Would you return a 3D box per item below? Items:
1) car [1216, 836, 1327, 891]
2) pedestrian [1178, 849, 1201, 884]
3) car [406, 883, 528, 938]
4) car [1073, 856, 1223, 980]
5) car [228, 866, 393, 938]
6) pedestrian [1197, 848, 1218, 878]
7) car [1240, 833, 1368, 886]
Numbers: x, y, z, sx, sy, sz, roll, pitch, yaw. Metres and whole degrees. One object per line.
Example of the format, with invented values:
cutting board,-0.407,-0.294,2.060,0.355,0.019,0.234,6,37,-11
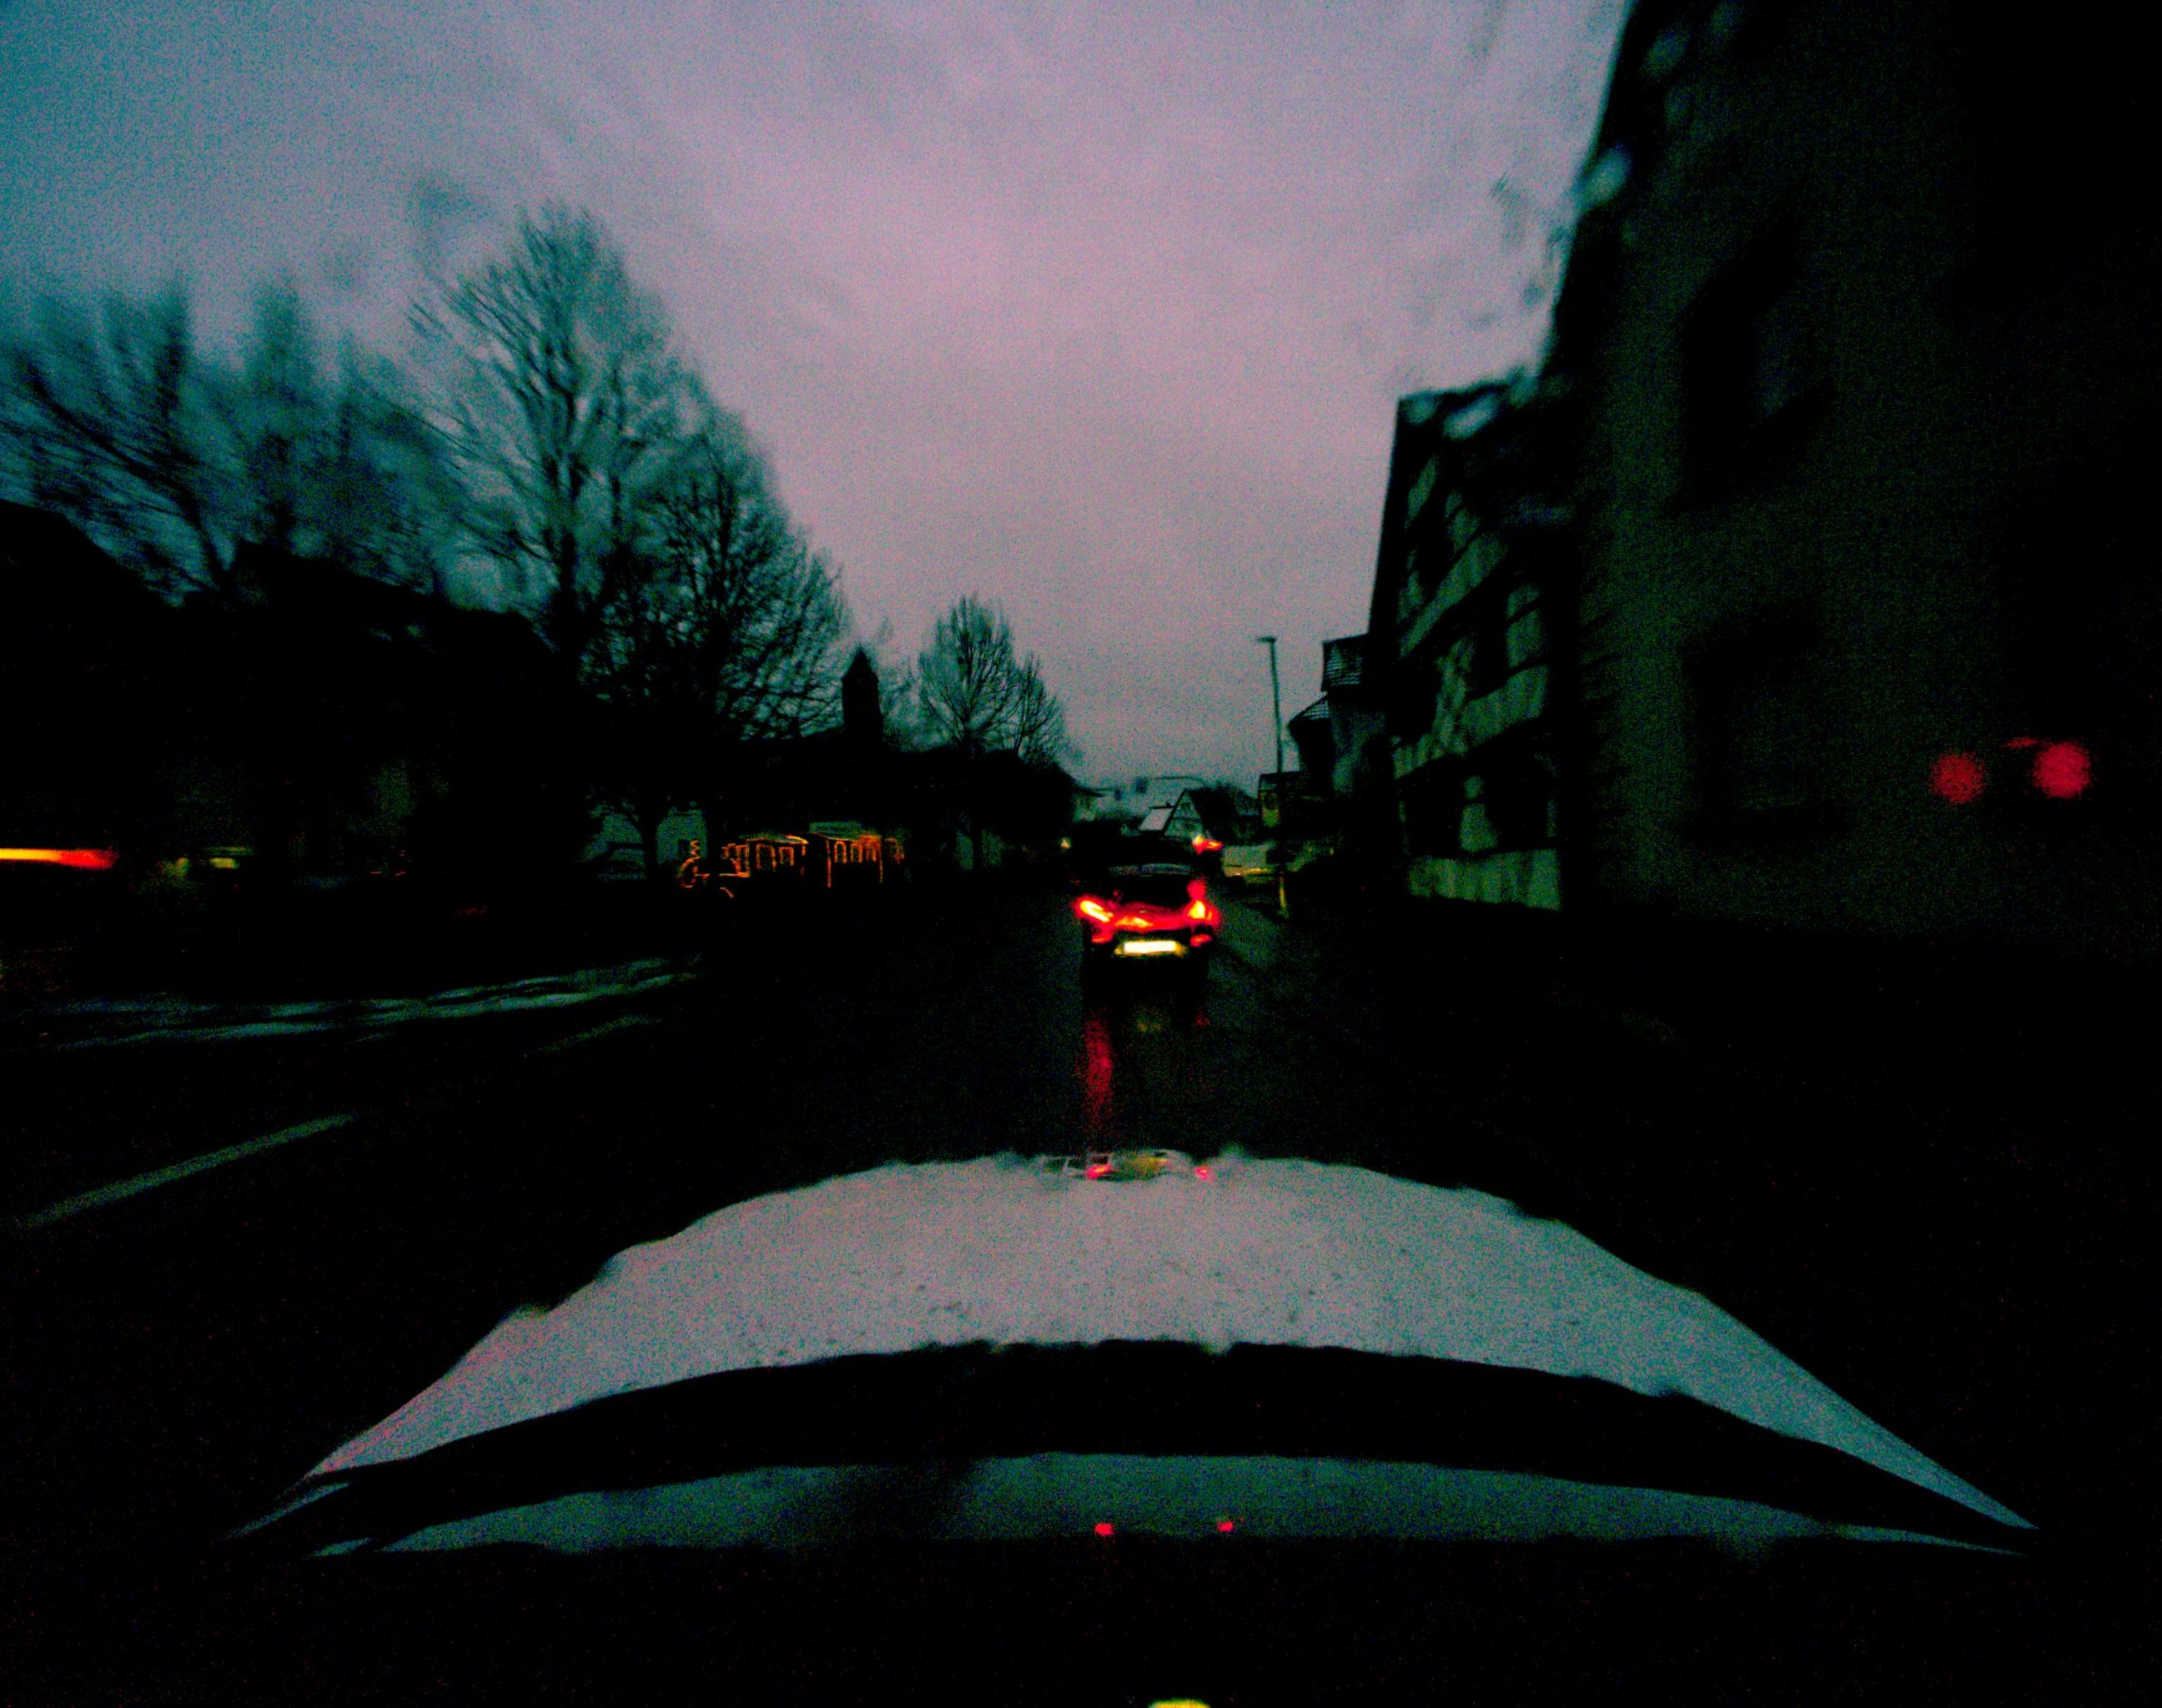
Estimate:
car,7.448,0.383,32.038,4.016,1.843,1.869,-4,-1,10
pedestrian,5.754,0.657,43.152,0.872,1.735,0.961,-5,-2,23
car,-16.923,1.508,22.412,3.284,1.329,1.624,-1,0,33
car,0.913,0.780,11.794,1.788,1.476,4.003,-1,0,3
car,-18.317,1.064,19.323,3.948,1.508,1.934,-1,0,33
pedestrian,7.320,0.524,47.130,0.859,1.667,0.997,-5,-2,23
car,9.340,0.231,34.315,4.944,1.889,1.945,-4,-1,15
